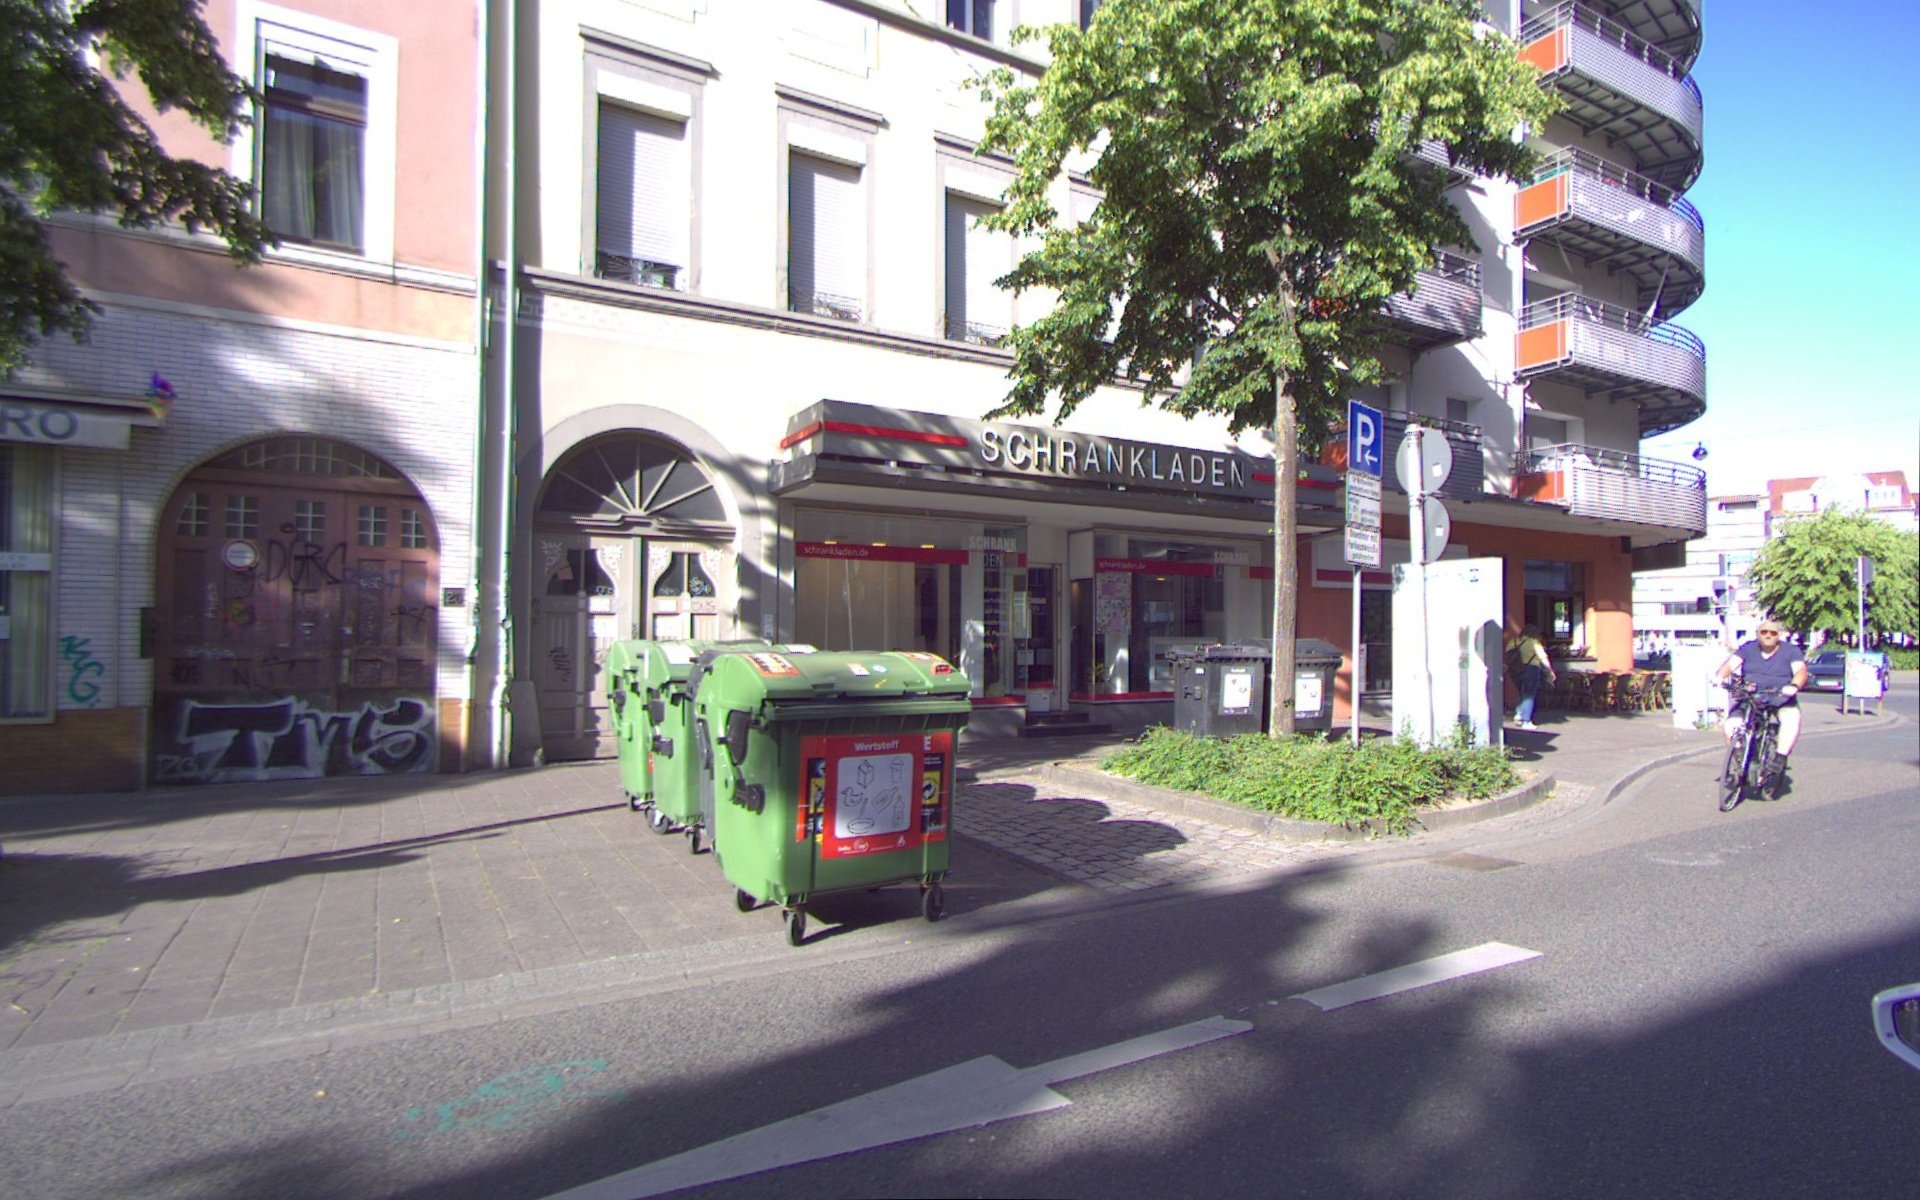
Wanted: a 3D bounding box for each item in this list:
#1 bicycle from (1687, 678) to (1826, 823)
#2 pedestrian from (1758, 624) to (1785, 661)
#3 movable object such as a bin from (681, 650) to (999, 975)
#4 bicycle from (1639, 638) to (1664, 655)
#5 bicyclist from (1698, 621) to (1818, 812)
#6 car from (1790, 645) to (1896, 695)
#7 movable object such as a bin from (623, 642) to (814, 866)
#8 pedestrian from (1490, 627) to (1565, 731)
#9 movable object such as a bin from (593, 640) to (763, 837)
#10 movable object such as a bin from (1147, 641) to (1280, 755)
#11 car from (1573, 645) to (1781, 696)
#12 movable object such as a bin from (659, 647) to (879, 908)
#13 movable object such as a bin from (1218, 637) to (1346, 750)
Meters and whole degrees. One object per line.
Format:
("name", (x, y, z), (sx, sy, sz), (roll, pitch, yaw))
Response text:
("bicycle", (7.532, 1.353, 9.460), (1.953, 1.161, 0.699), (2, -3, -42))
("pedestrian", (46.271, 2.422, 57.260), (0.949, 2.136, 0.734), (1, -1, -8))
("movable object such as a bin", (-0.666, 1.028, 5.503), (1.436, 1.491, 1.037), (1, -3, -31))
("bicycle", (60.670, 4.068, 88.180), (2.662, 1.523, 0.958), (2, -2, -36))
("bicyclist", (7.494, 1.044, 9.430), (1.028, 1.674, 0.690), (2, -3, -42))
("car", (29.602, 2.277, 33.639), (4.495, 1.441, 1.736), (0, -2, -36))
("movable object such as a bin", (-1.791, 1.056, 7.414), (1.130, 1.491, 0.959), (1, -2, -31))
("pedestrian", (9.468, 1.289, 16.768), (1.025, 1.681, 0.661), (1, -2, -31))
("movable object such as a bin", (-2.361, 1.081, 8.370), (1.130, 1.491, 1.037), (1, -2, -31))
("movable object such as a bin", (3.225, 1.208, 12.830), (1.299, 1.363, 1.037), (1, -3, -31))
("car", (21.962, 2.141, 30.905), (5.042, 1.441, 1.991), (-3, -4, 40))
("movable object such as a bin", (-1.260, 1.060, 6.553), (1.130, 1.491, 1.037), (1, -2, -31))
("movable object such as a bin", (4.328, 1.216, 13.515), (1.299, 1.422, 1.037), (1, -3, -31))
